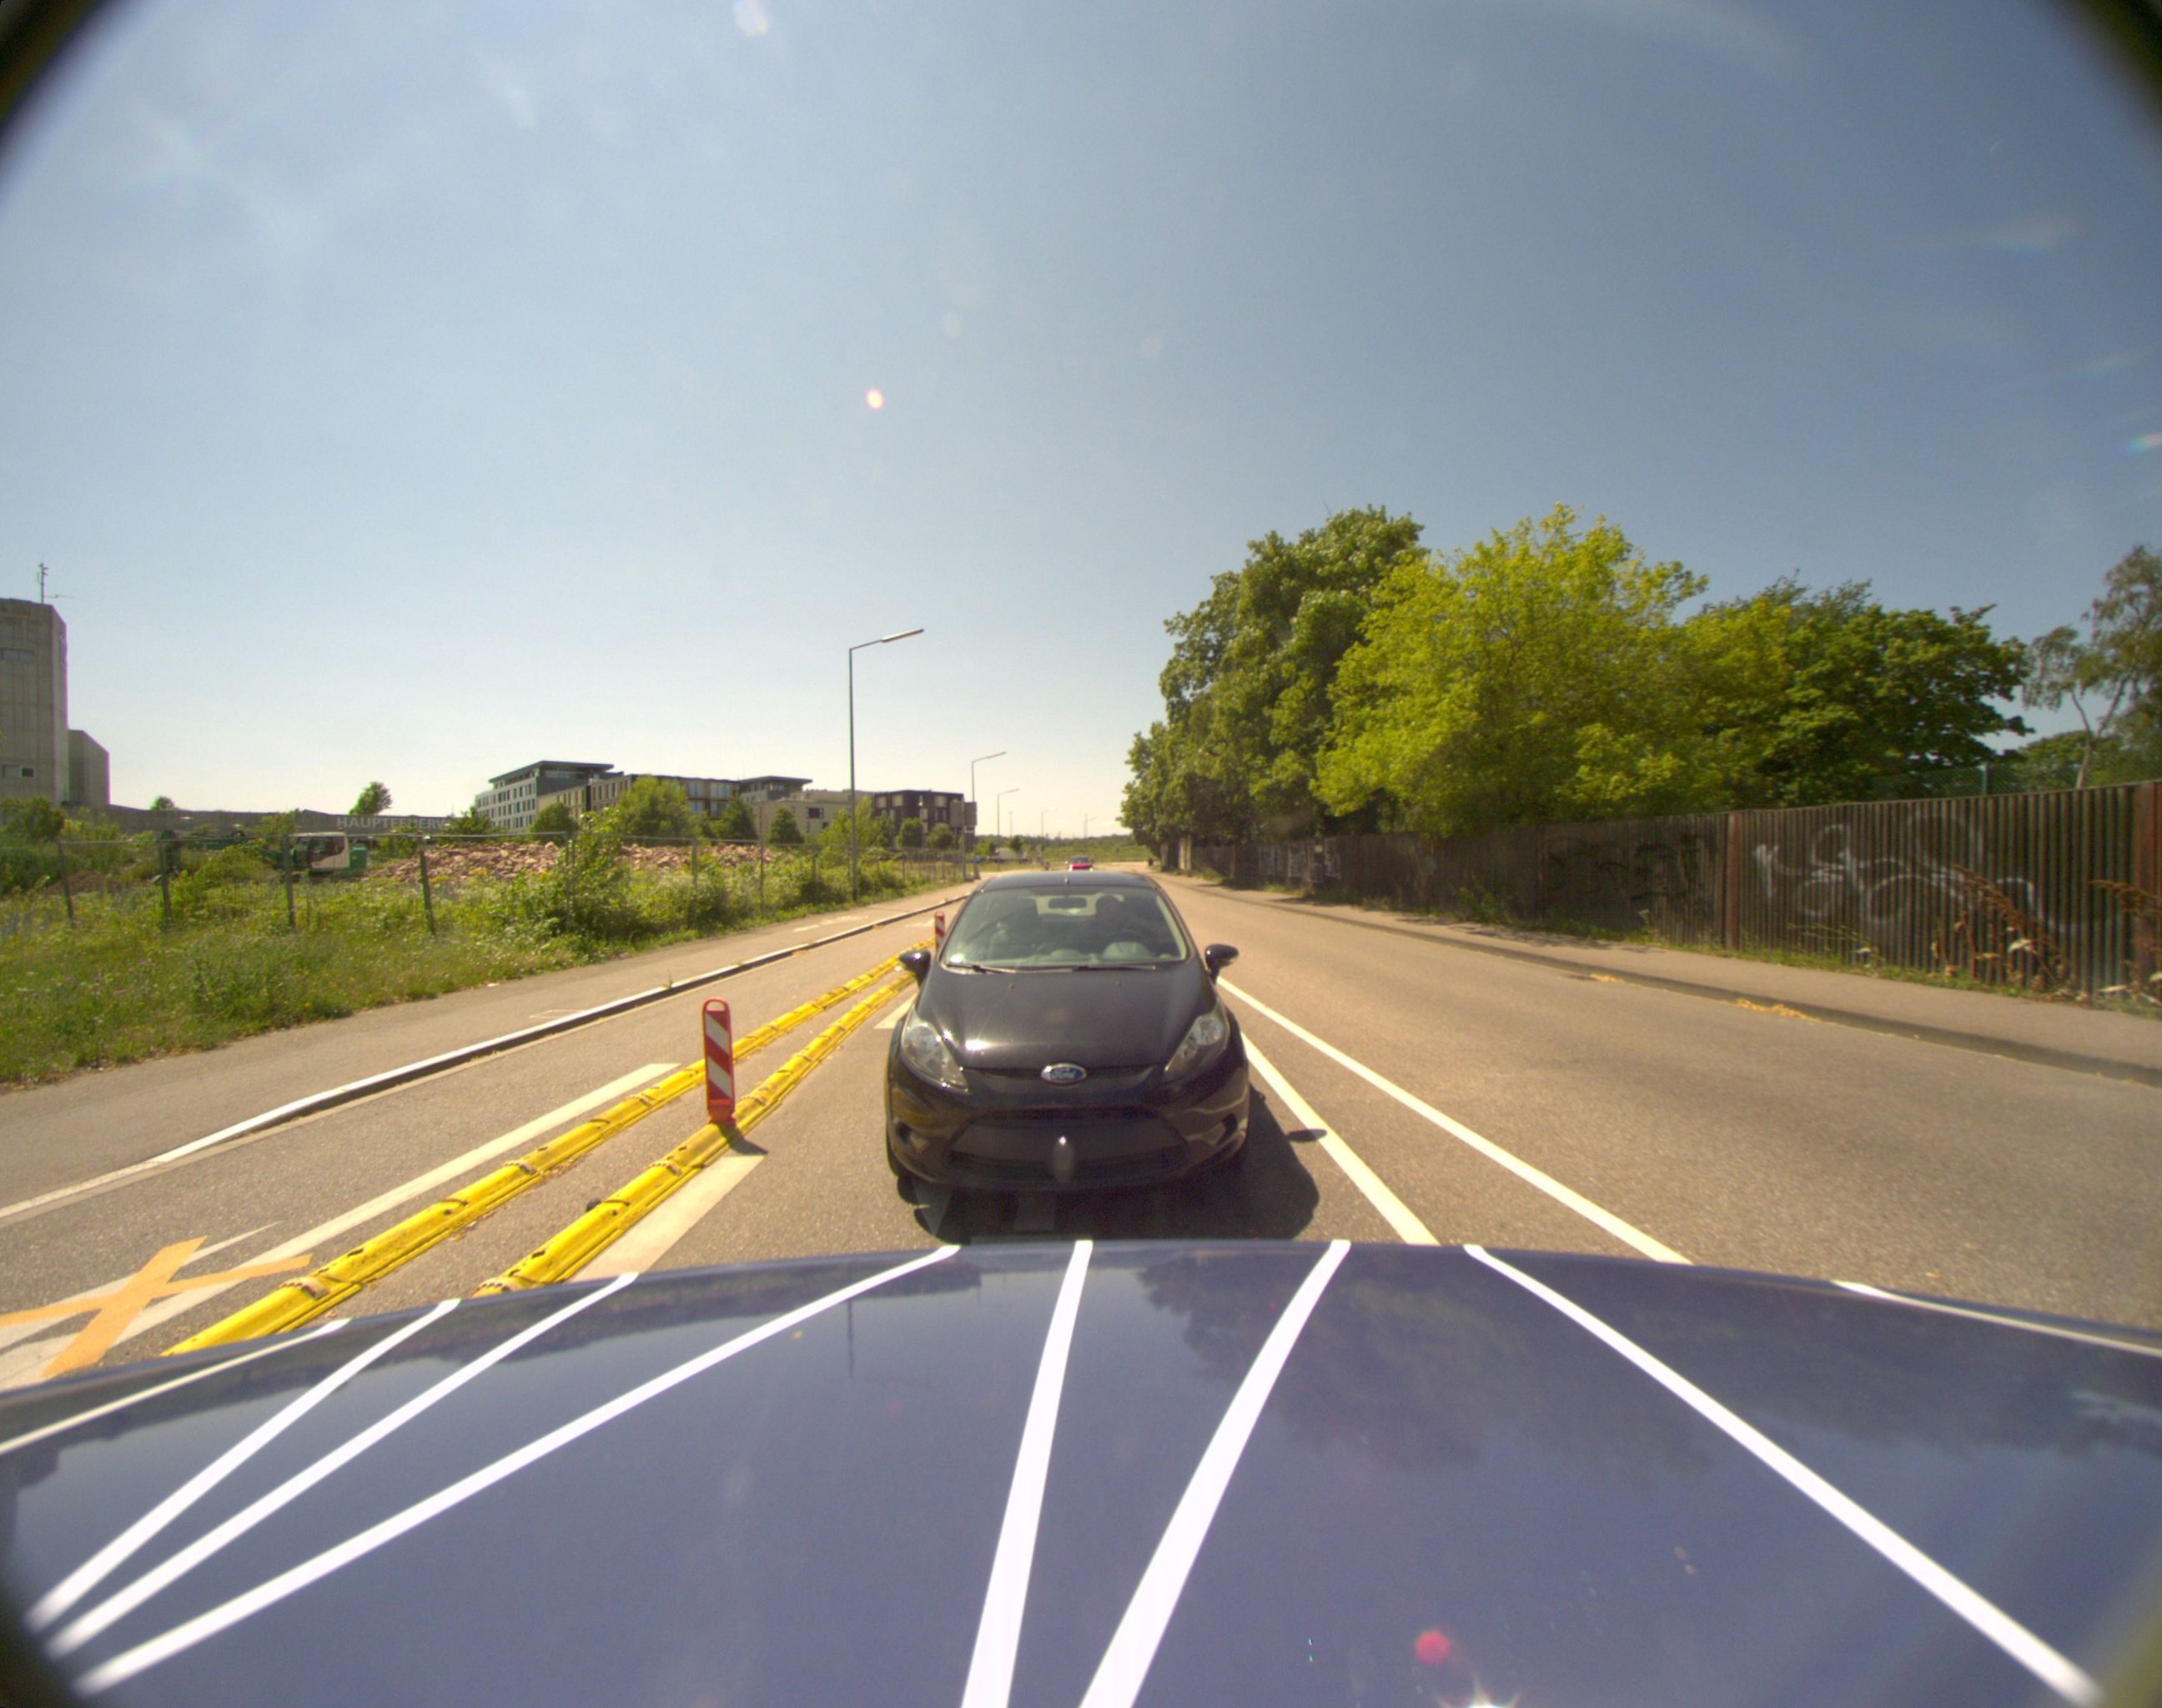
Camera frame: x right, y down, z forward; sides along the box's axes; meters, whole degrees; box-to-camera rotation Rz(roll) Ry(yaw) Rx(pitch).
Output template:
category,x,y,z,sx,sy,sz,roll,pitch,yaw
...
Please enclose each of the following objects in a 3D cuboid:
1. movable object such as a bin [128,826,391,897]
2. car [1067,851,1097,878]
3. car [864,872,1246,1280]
category,x,y,z,sx,sy,sz,roll,pitch,yaw
movable object such as a bin,-38.342,0.260,35.996,3.231,2.899,7.702,-2,1,15
car,0.077,0.703,52.393,1.924,1.643,4.668,-2,1,1
car,-0.080,0.974,5.154,1.528,1.510,3.999,-2,1,1
